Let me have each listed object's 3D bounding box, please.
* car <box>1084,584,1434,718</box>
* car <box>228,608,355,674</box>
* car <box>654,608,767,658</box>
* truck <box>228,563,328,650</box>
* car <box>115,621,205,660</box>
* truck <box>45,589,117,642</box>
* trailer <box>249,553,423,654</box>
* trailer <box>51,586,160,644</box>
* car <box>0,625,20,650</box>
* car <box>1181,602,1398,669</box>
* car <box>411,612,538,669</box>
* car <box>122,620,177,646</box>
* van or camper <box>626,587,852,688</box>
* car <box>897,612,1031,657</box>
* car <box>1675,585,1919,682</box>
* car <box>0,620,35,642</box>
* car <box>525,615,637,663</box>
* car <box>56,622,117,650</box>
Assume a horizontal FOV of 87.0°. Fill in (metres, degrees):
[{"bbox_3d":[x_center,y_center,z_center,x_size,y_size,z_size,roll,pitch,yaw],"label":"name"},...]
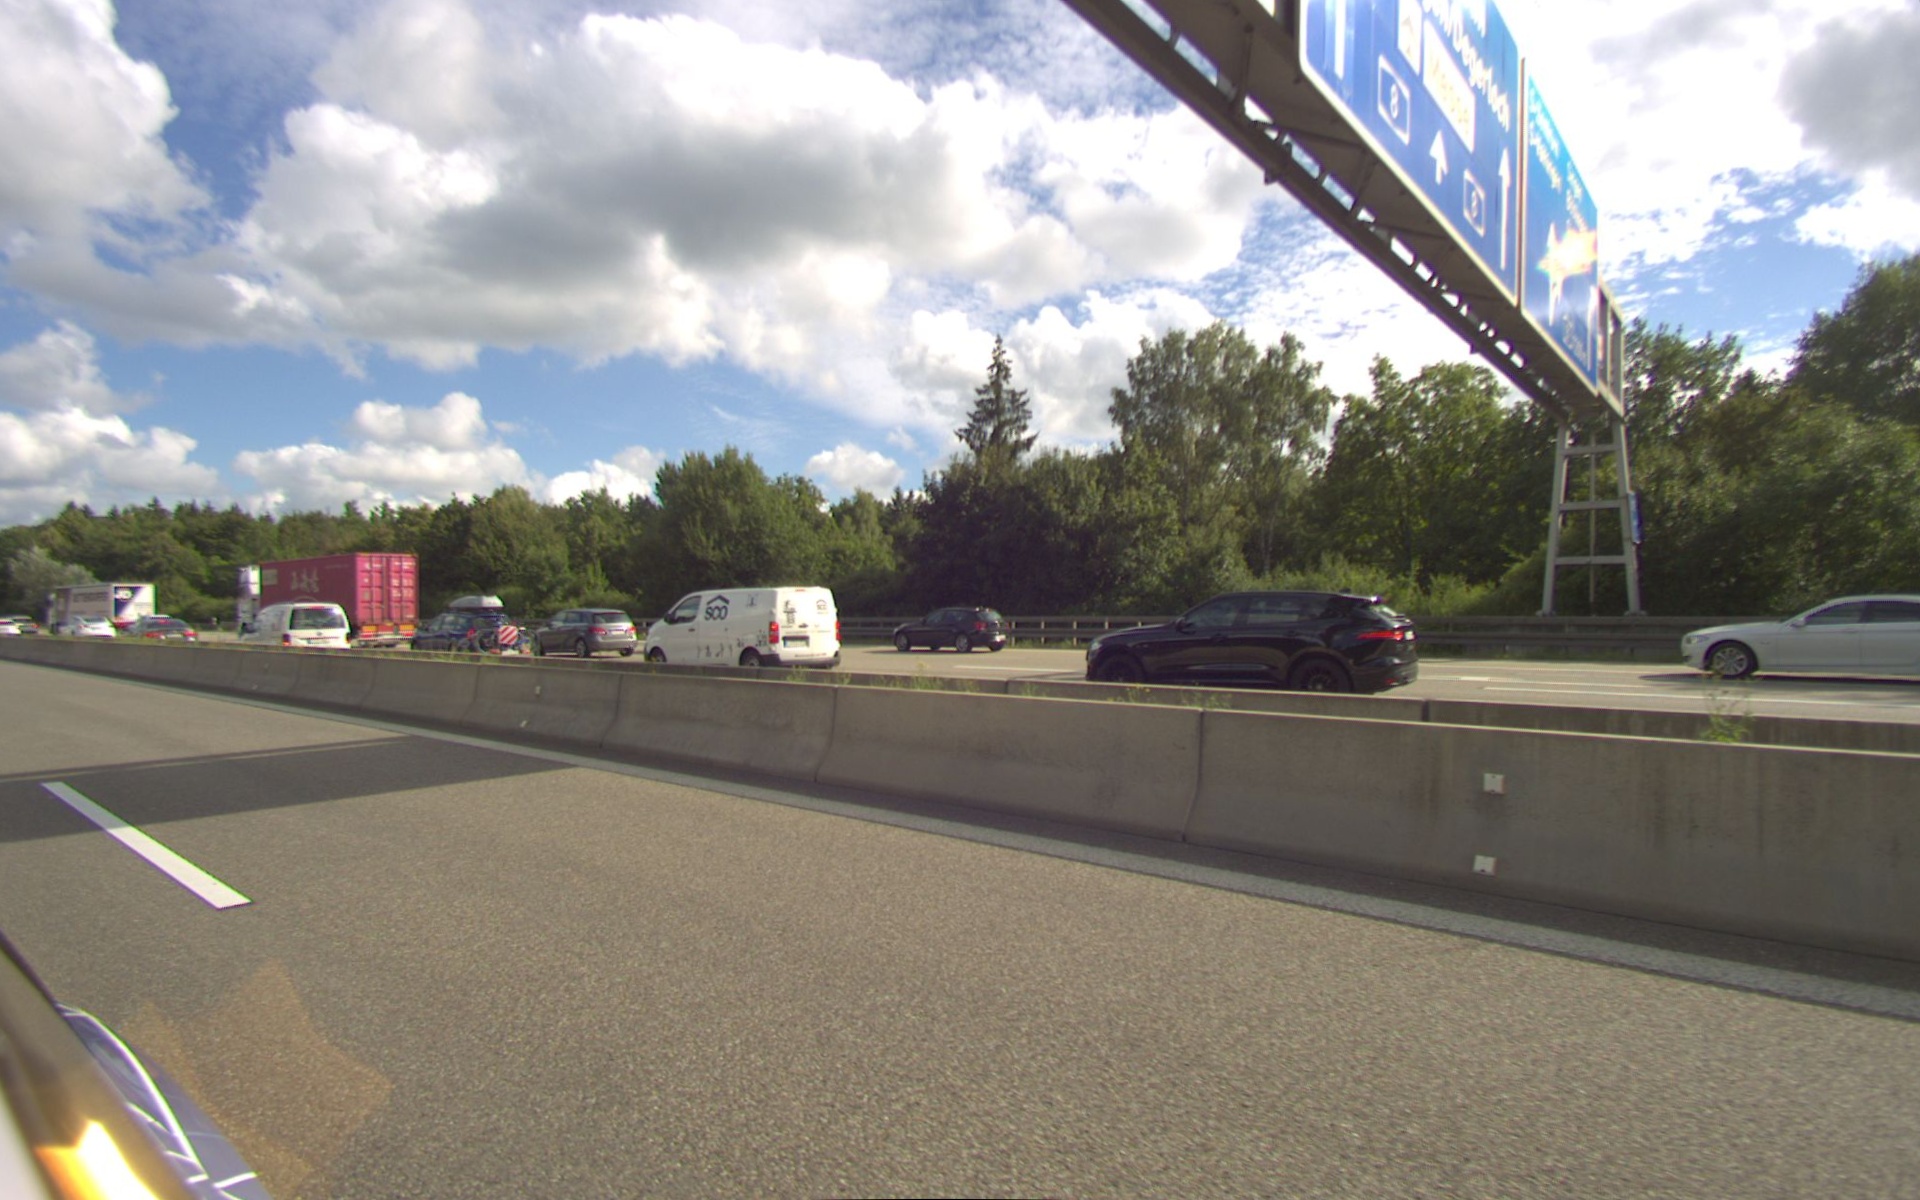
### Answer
[{"bbox_3d":[4.150,0.663,14.403,4.488,1.642,1.684,-1,-1,35],"label":"car"},{"bbox_3d":[-18.492,1.085,27.910,4.516,1.661,1.751,-1,-1,40],"label":"car"},{"bbox_3d":[-8.737,1.113,35.321,4.145,1.625,1.797,-1,-1,42],"label":"car"},{"bbox_3d":[-34.591,0.363,51.258,5.759,4.138,2.712,-1,-1,40],"label":"truck"},{"bbox_3d":[-30.979,1.532,39.151,4.543,1.385,1.775,-1,-1,39],"label":"car"},{"bbox_3d":[-71.548,1.288,82.322,6.215,4.138,3.287,-1,-1,38],"label":"truck"},{"bbox_3d":[-29.007,0.235,46.605,13.404,4.138,2.712,-1,-1,40],"label":"trailer"},{"bbox_3d":[-66.415,1.186,78.463,14.128,4.138,3.288,-1,-1,37],"label":"trailer"},{"bbox_3d":[-57.943,2.258,60.673,4.846,1.453,1.752,-1,0,40],"label":"car"},{"bbox_3d":[7.868,0.821,24.472,4.704,1.451,1.684,-1,-1,41],"label":"car"},{"bbox_3d":[-14.421,1.164,29.947,4.682,1.540,1.681,-1,-1,41],"label":"car"},{"bbox_3d":[-53.025,2.125,66.185,5.039,1.630,1.776,-1,-1,39],"label":"car"},{"bbox_3d":[-4.703,0.737,21.075,5.150,1.864,1.843,-1,-1,40],"label":"van or camper"},{"bbox_3d":[0.066,1.075,32.261,4.180,1.298,1.684,-1,-1,41],"label":"car"},{"bbox_3d":[15.492,0.547,17.286,5.133,1.557,1.796,-1,-1,44],"label":"car"},{"bbox_3d":[-71.088,2.317,76.103,4.940,1.606,1.691,-1,-1,40],"label":"car"},{"bbox_3d":[-12.372,1.237,32.924,3.996,1.426,1.621,-1,-1,40],"label":"car"},{"bbox_3d":[-51.851,2.094,60.040,4.989,1.537,1.839,-1,0,39],"label":"car"}]
